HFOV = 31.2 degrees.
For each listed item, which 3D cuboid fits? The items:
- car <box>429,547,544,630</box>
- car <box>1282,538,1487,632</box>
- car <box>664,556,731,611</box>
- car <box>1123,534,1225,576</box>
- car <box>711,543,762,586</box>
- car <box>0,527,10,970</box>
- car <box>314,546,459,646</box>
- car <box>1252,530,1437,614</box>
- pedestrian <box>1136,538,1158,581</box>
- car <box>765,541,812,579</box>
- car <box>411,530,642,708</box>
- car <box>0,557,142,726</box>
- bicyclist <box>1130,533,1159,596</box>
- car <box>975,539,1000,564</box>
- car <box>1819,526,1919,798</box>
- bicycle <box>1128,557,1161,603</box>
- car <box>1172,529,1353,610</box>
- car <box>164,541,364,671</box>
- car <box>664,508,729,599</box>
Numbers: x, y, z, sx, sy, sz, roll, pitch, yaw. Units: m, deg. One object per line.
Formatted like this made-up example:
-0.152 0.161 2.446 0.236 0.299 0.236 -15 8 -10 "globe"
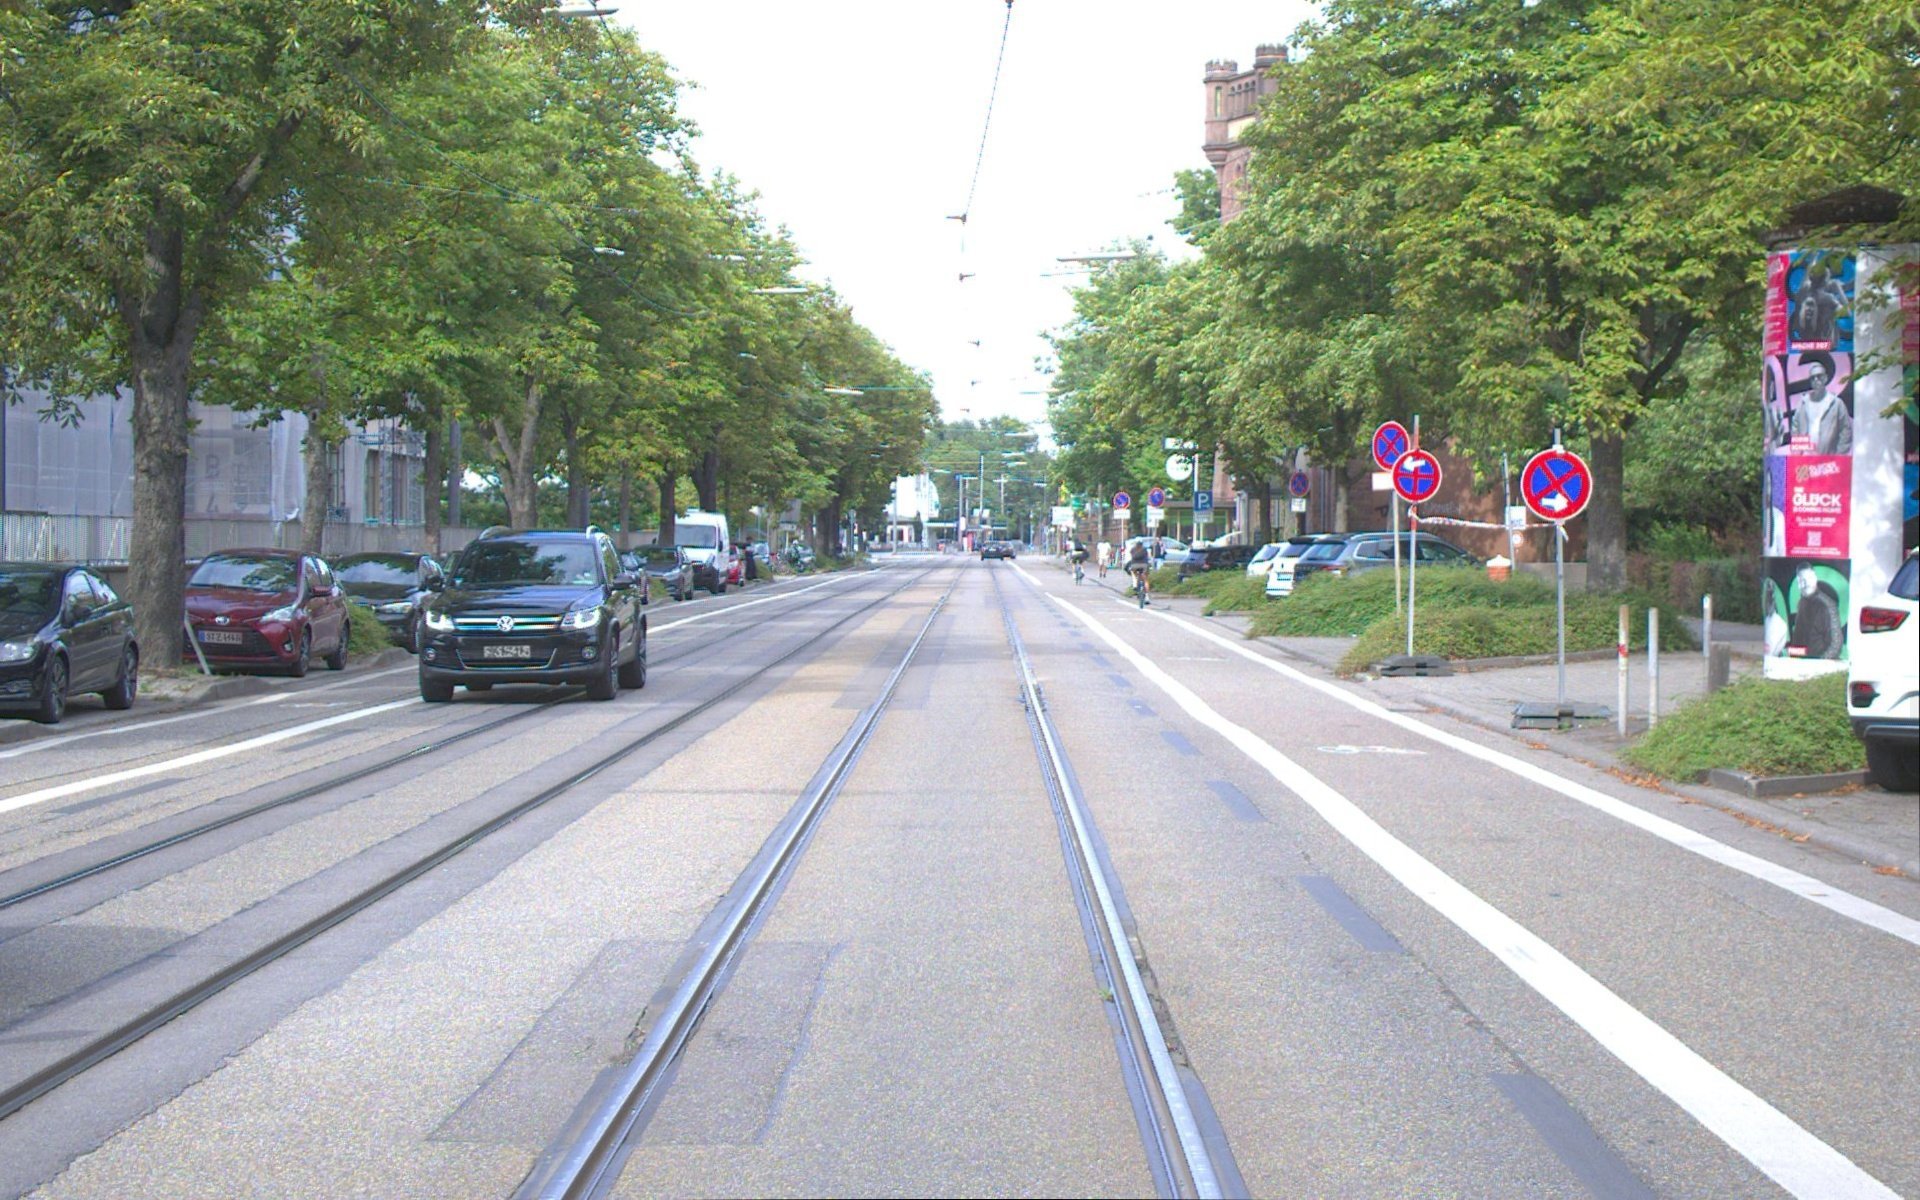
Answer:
-8.409 -0.224 61.297 1.590 1.398 3.963 1 1 -2 "car"
7.470 -0.274 60.385 3.637 1.597 1.681 0 1 -45 "car"
-6.998 -0.455 91.876 1.590 1.398 3.963 1 1 -2 "car"
8.905 -1.898 143.518 3.986 1.687 2.000 1 1 -5 "car"
-7.647 -1.232 117.839 1.590 1.398 3.963 1 1 -2 "car"
-4.098 0.551 9.524 1.732 1.491 4.378 0 1 0 "car"
-8.462 -0.087 50.985 1.590 1.398 3.963 1 1 -2 "car"
7.527 -0.543 67.181 3.637 1.597 1.681 0 1 -45 "car"
7.783 -1.701 143.301 0.748 1.783 0.730 1 0 16 "pedestrian"
-6.517 -1.518 130.782 1.590 1.398 3.550 1 1 0 "car"
-4.204 0.128 33.926 1.732 1.623 4.378 -1 1 0 "car"
-8.626 0.323 31.128 1.590 1.398 3.963 1 1 -2 "car"
4.260 -0.826 79.352 0.592 1.454 0.875 1 1 -2 "bicyclist"
2.050 -3.624 258.558 1.795 1.817 4.679 1 1 0 "car"
7.045 0.366 21.345 3.637 1.597 1.681 0 1 -45 "car"
4.252 -0.467 79.356 0.592 1.040 1.978 1 1 -2 "bicycle"
6.127 -0.613 69.335 3.637 1.597 1.681 0 1 -45 "car"
-8.400 0.037 41.784 1.635 1.491 3.963 1 1 -1 "car"
-8.048 -1.423 105.350 1.720 2.695 5.471 1 1 -2 "car"
